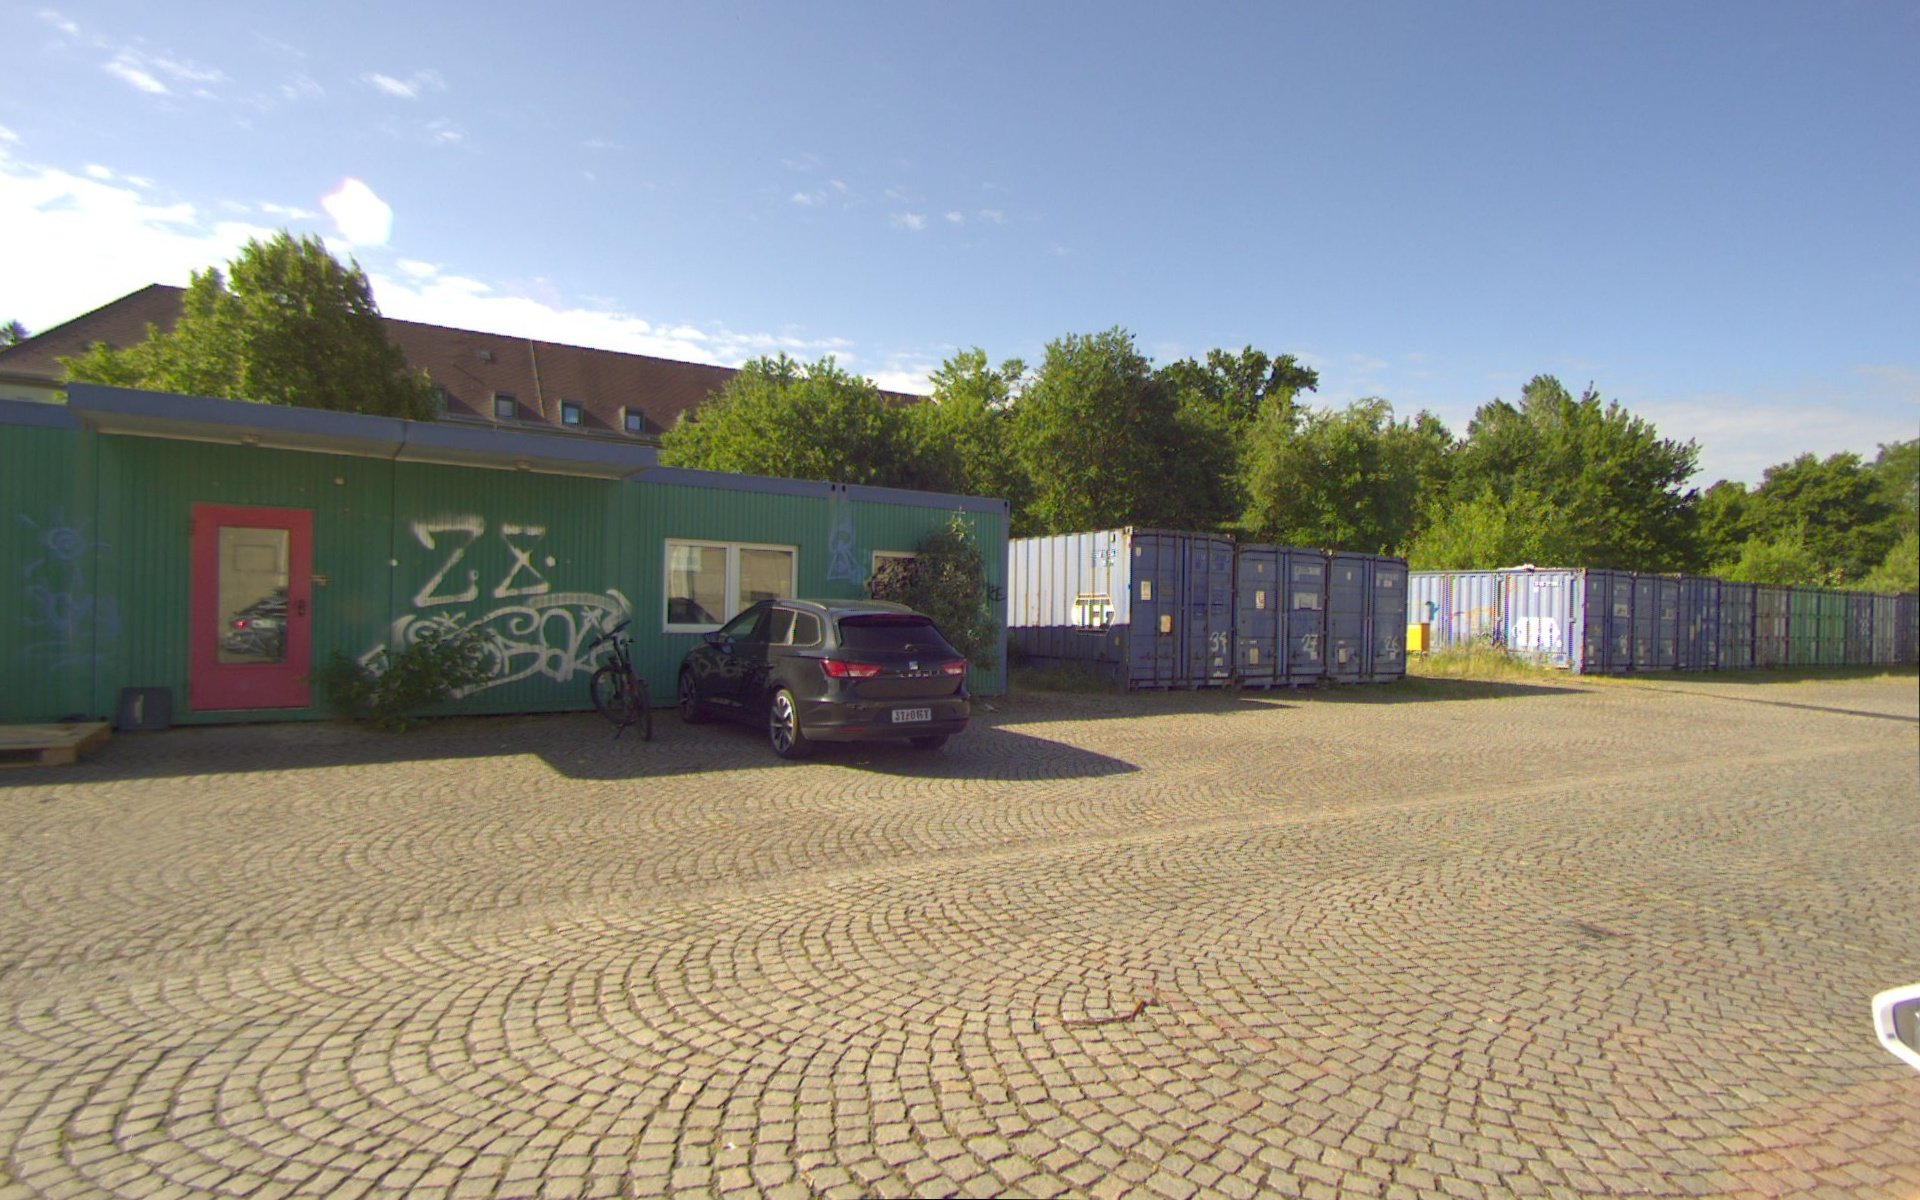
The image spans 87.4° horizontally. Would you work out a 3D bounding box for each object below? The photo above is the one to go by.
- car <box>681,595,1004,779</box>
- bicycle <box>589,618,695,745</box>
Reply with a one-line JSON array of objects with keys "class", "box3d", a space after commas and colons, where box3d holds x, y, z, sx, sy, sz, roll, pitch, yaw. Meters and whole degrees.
[{"class": "car", "box3d": [-1.419, 0.731, 10.427, 1.713, 1.432, 4.025, 2, 1, -33]}, {"class": "bicycle", "box3d": [-3.332, 0.791, 10.426, 0.666, 1.116, 1.699, 1, 2, -31]}]
